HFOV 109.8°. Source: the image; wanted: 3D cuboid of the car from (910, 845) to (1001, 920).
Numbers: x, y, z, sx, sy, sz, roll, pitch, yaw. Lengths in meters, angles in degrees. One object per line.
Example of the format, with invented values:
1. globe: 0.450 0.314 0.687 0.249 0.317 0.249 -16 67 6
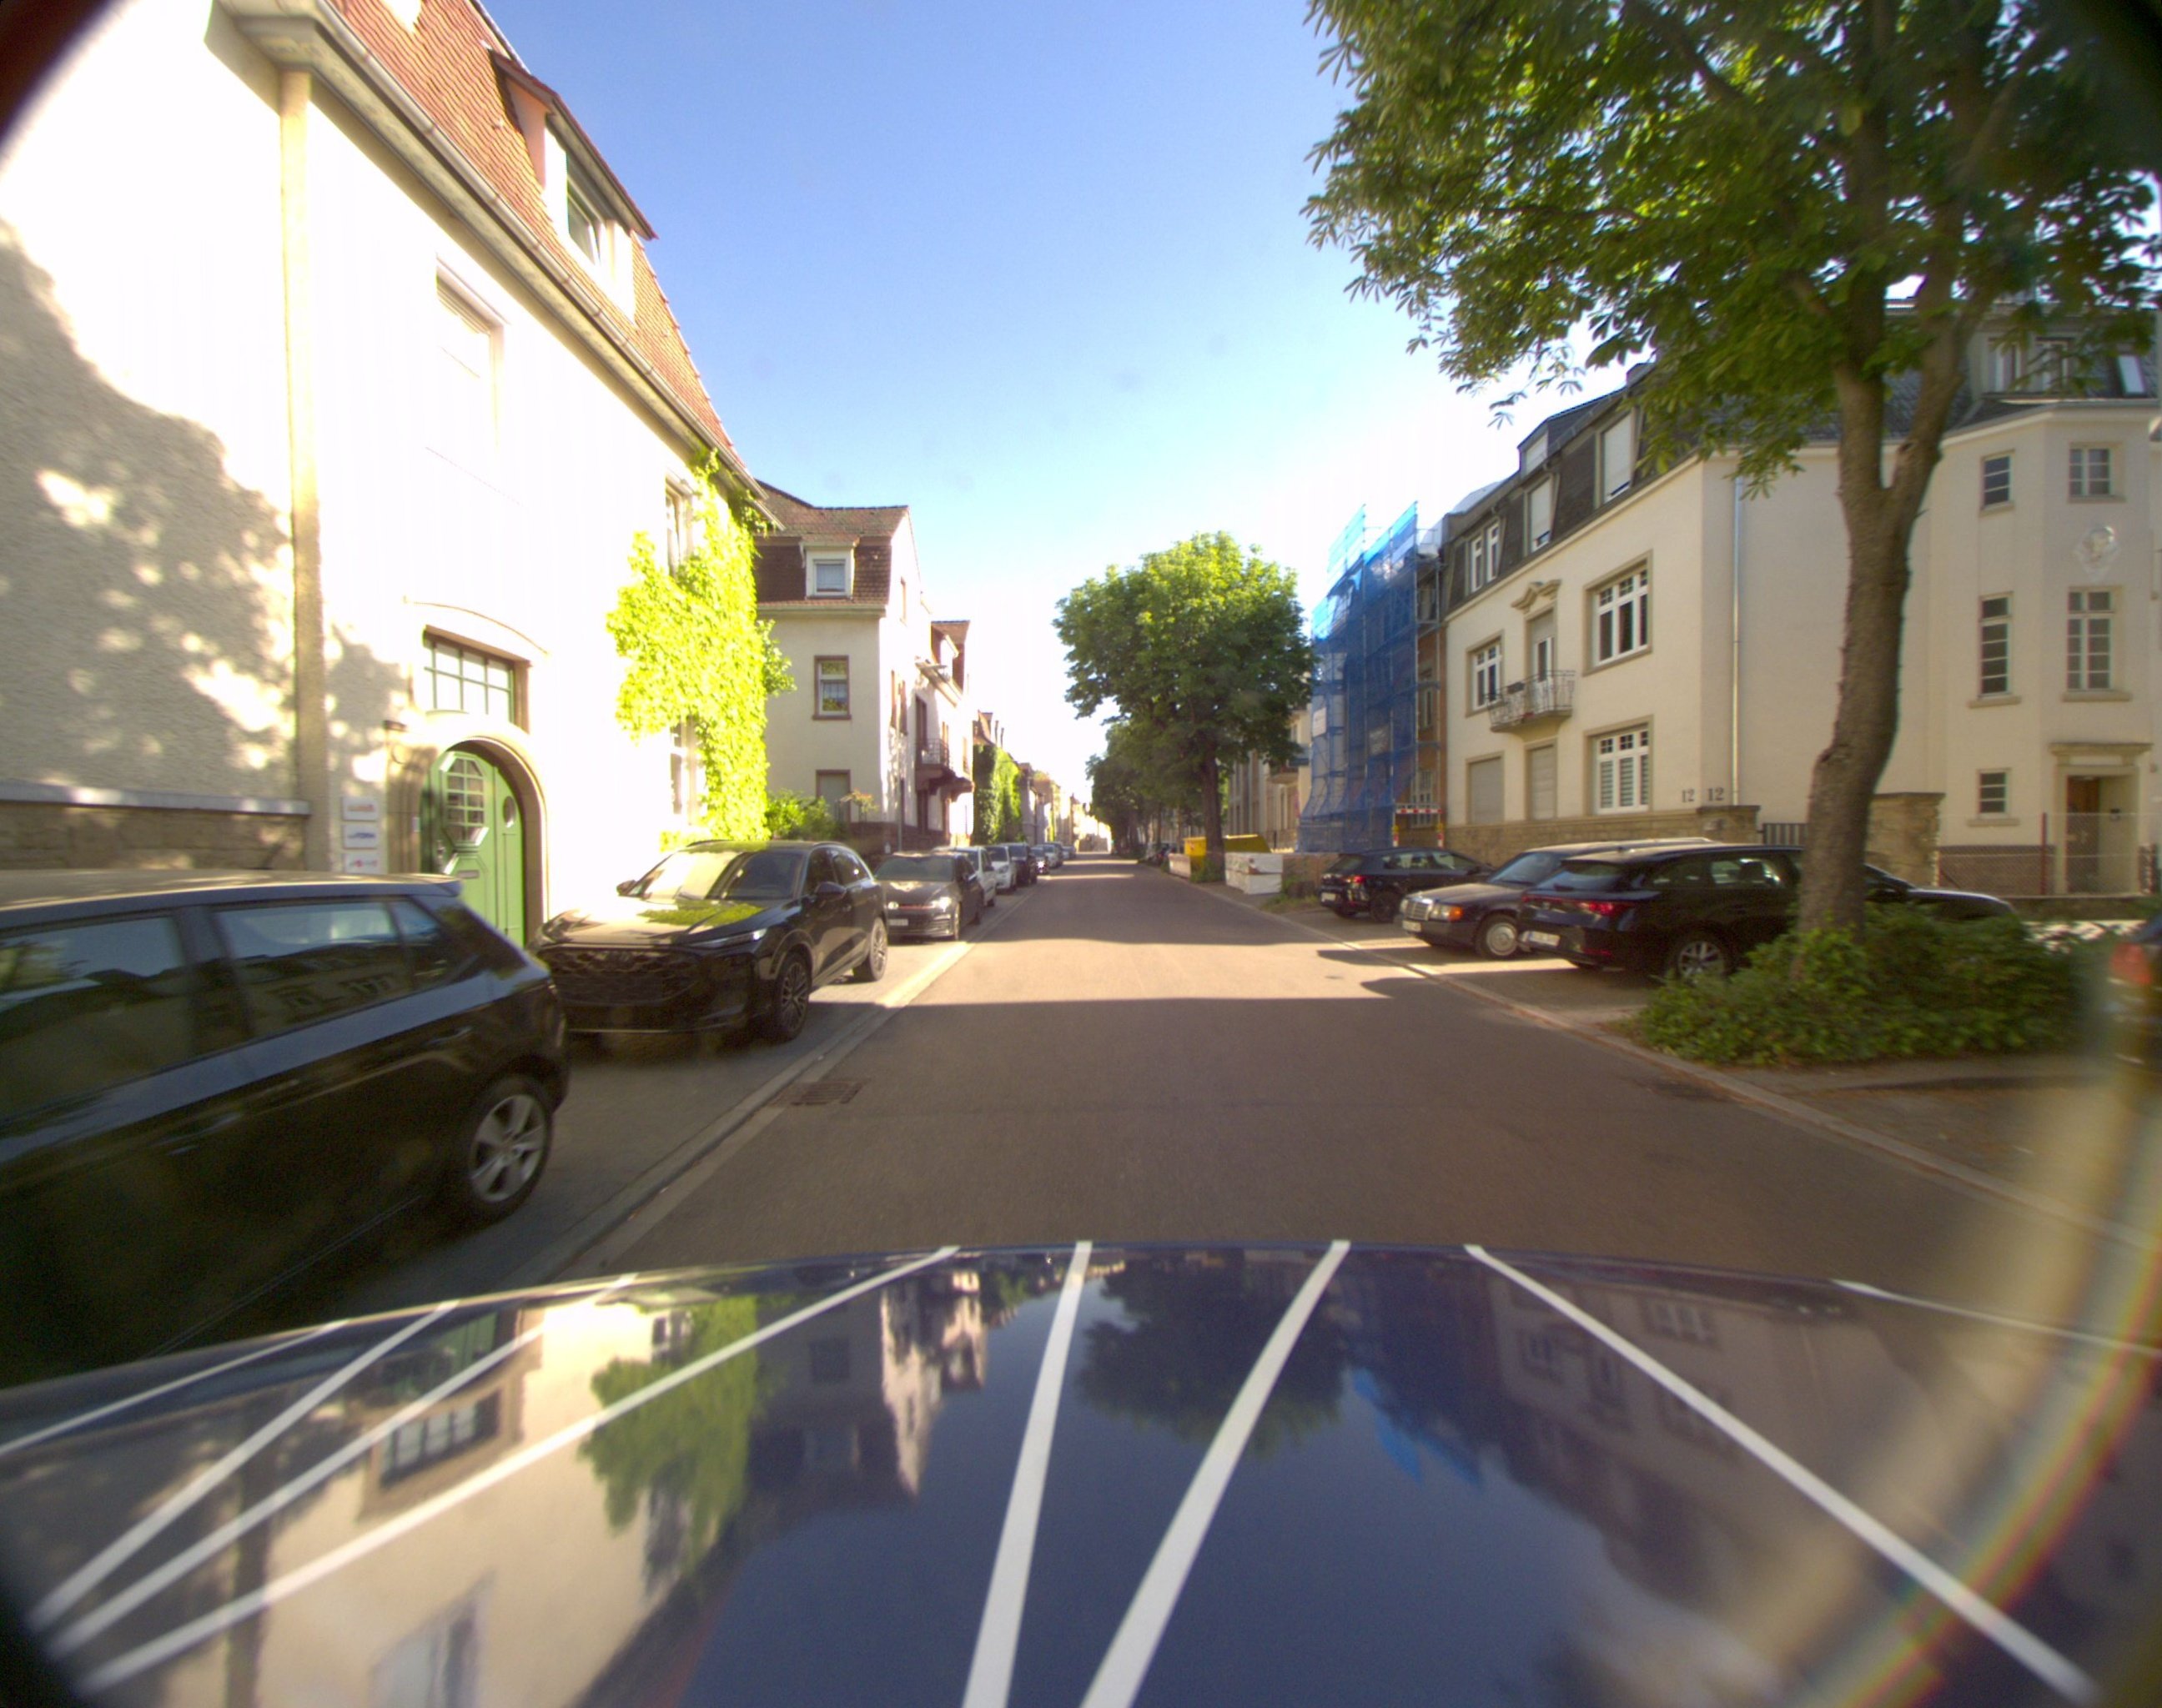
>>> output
1. car: -2.898 0.597 18.204 1.579 1.540 3.467 1 2 0

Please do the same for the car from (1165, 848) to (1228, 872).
1. car: 7.199 0.383 47.646 3.735 1.456 1.715 1 0 2

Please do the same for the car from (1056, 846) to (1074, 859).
1. car: -1.938 -0.215 93.158 1.822 1.530 4.160 -2 1 2

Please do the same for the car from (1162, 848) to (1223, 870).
1. car: 7.338 0.324 50.246 3.756 1.423 1.646 0 1 1

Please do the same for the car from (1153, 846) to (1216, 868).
1. car: 7.158 0.215 52.710 4.150 1.393 1.710 -1 0 1

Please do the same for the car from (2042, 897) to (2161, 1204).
1. car: 6.926 0.918 3.329 3.488 1.412 1.709 -2 2 -4

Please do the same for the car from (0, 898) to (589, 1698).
1. car: -3.122 1.027 1.611 1.667 1.512 3.999 1 2 -2

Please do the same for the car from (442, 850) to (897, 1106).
1. car: -3.148 0.785 7.025 1.796 1.512 4.365 1 2 0

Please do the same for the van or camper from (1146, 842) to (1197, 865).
1. van or camper: 7.277 -0.064 61.376 3.954 1.763 1.809 -1 0 0

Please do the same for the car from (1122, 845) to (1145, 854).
1. car: 8.439 -0.777 122.287 3.496 1.421 1.542 -1 1 0

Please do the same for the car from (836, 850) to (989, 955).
1. car: -2.773 0.719 13.449 1.713 1.428 4.192 2 2 0

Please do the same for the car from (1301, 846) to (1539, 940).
1. car: 6.625 0.696 15.066 3.883 1.506 1.831 -3 1 -8

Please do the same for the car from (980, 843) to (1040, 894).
1. car: -2.713 0.499 29.813 1.782 1.687 4.319 -2 2 1

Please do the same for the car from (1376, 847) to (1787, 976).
1. car: 6.791 0.730 10.663 4.601 1.598 1.832 -1 1 -2

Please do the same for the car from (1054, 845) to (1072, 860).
1. car: -1.950 -0.217 83.920 1.813 1.546 4.105 -1 1 1

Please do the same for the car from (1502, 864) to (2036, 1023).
1. car: 7.083 0.869 8.154 4.198 1.433 1.712 -1 1 0

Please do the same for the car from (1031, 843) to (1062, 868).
1. car: -2.325 0.089 52.440 1.872 1.635 4.199 0 1 1

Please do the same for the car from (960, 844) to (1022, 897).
1. car: -2.880 0.494 24.765 1.629 1.540 2.868 -1 2 0

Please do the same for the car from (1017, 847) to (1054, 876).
1. car: -2.409 0.339 40.998 1.648 1.445 4.502 -1 1 0

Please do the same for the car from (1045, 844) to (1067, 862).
1. car: -1.924 -0.105 59.463 1.641 1.413 4.008 0 1 0

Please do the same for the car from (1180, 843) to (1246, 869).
1. car: 7.724 0.114 44.708 3.558 1.440 1.695 1 1 1
